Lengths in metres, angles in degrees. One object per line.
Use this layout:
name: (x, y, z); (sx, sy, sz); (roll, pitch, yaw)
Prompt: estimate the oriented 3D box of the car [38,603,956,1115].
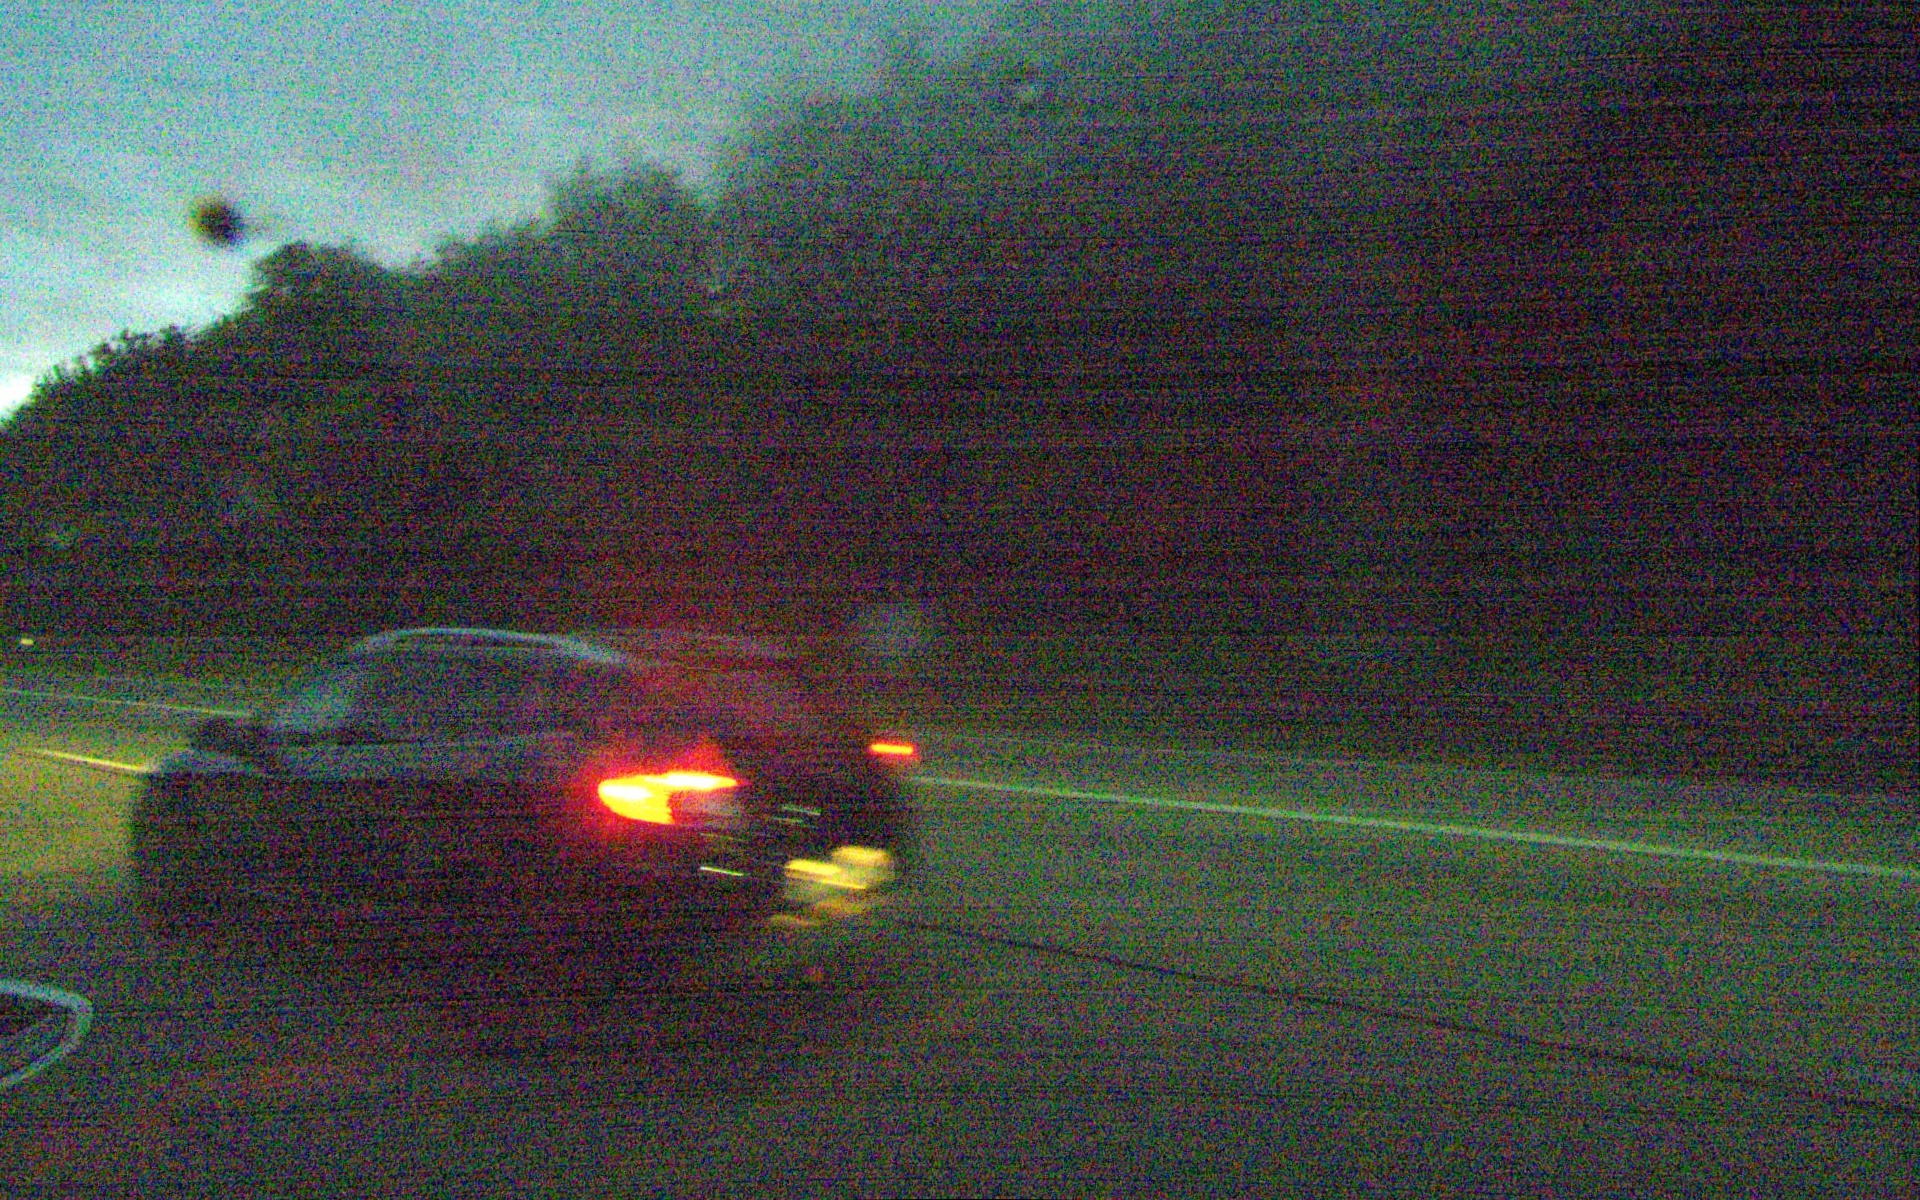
car: (-2.528, 0.826, 4.950); (4.876, 1.509, 1.689); (-1, -2, 31)
